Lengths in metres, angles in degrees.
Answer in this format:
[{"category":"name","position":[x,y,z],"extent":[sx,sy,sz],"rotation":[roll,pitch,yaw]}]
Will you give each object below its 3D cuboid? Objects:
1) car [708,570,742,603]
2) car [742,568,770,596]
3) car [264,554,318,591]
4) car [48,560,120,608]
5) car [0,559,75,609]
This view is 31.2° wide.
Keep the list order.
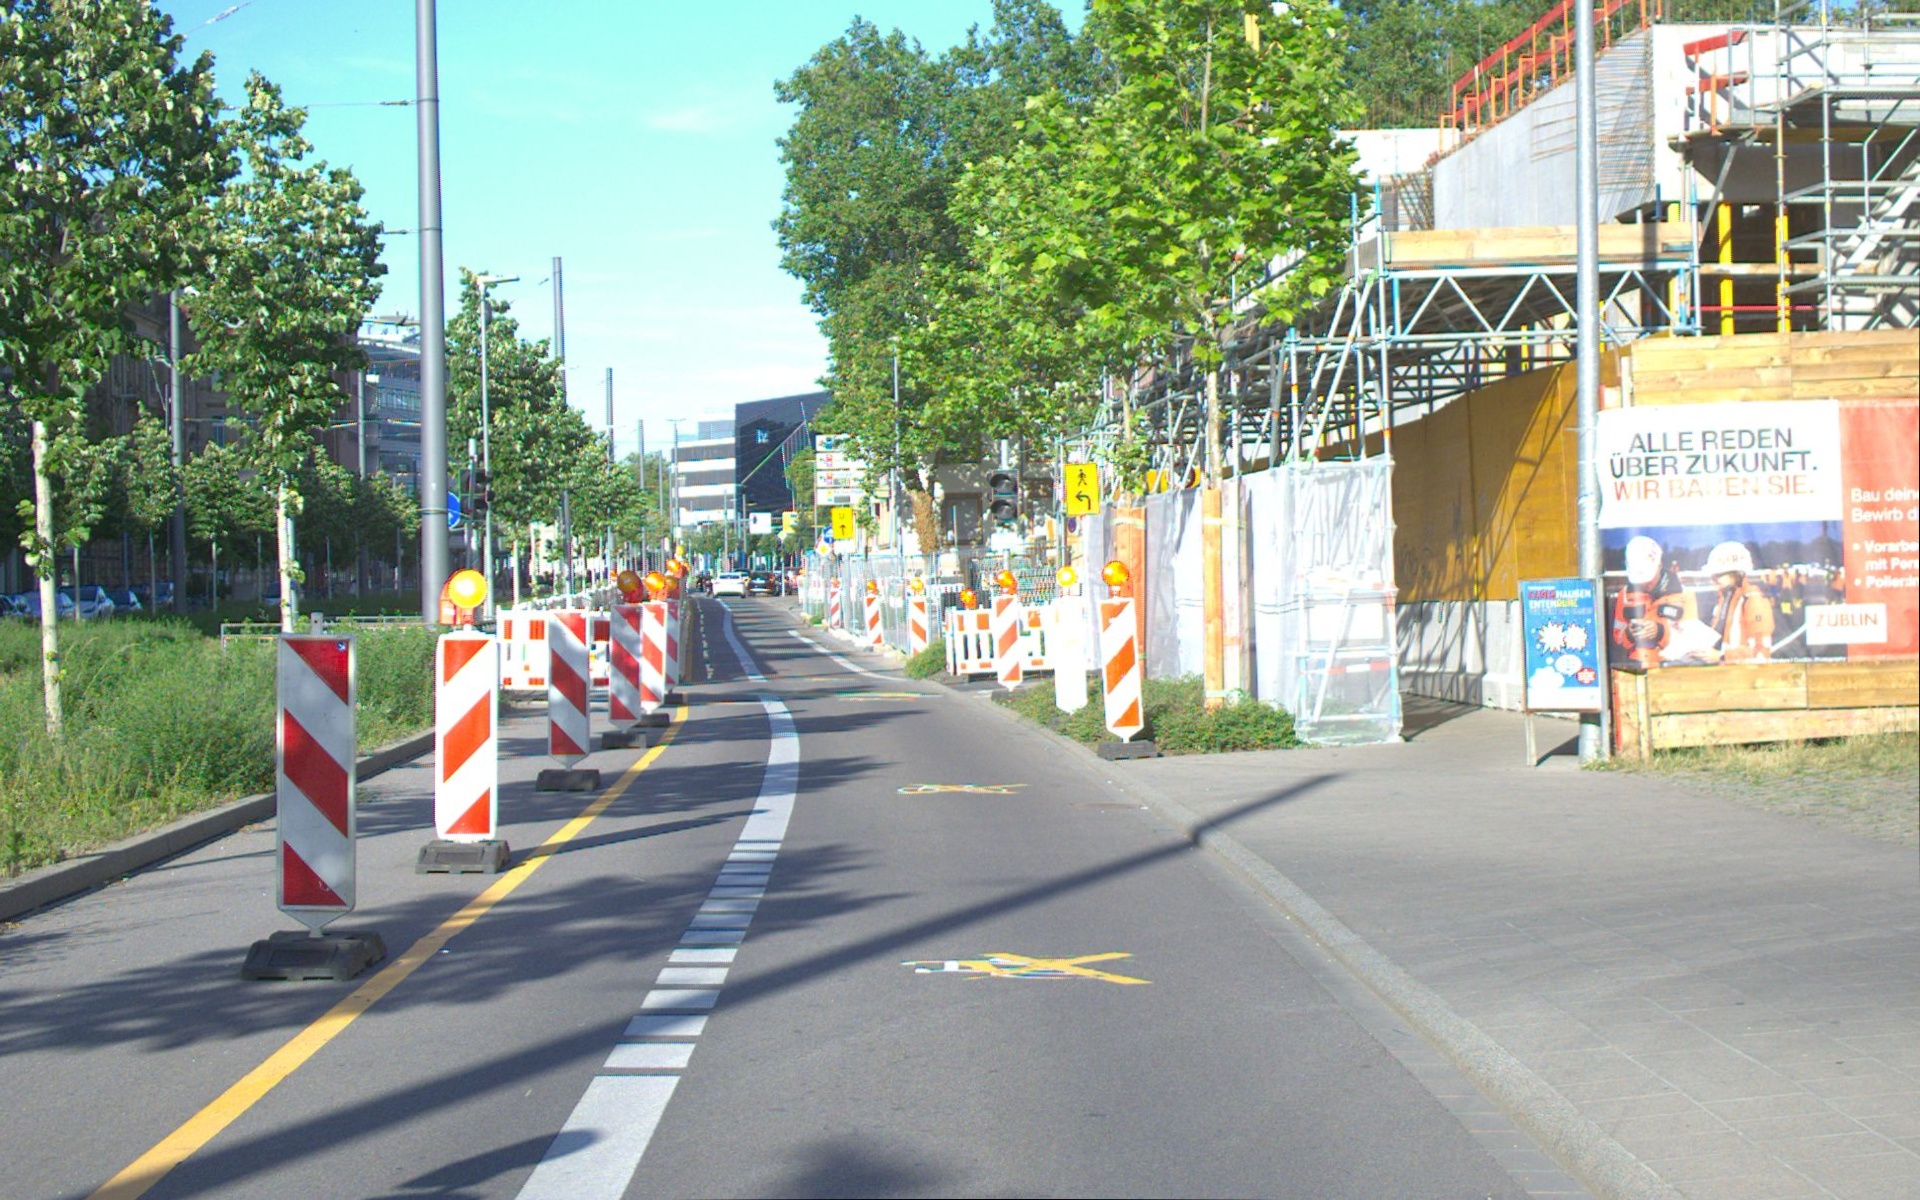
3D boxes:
[{"category":"car","position":[-13.288,-0.760,194.333],"extent":[1.883,1.836,3.668],"rotation":[-1,1,-4]},{"category":"car","position":[-13.951,-1.251,235.031],"extent":[1.883,1.836,3.668],"rotation":[-1,1,-4]},{"category":"car","position":[-27.212,-1.116,139.902],"extent":[1.594,1.478,3.624],"rotation":[0,1,-2]},{"category":"car","position":[-29.810,-0.557,117.096],"extent":[1.566,1.557,4.715],"rotation":[-1,1,-5]},{"category":"car","position":[-29.756,-0.522,110.765],"extent":[1.566,1.557,4.715],"rotation":[-1,1,-4]}]
